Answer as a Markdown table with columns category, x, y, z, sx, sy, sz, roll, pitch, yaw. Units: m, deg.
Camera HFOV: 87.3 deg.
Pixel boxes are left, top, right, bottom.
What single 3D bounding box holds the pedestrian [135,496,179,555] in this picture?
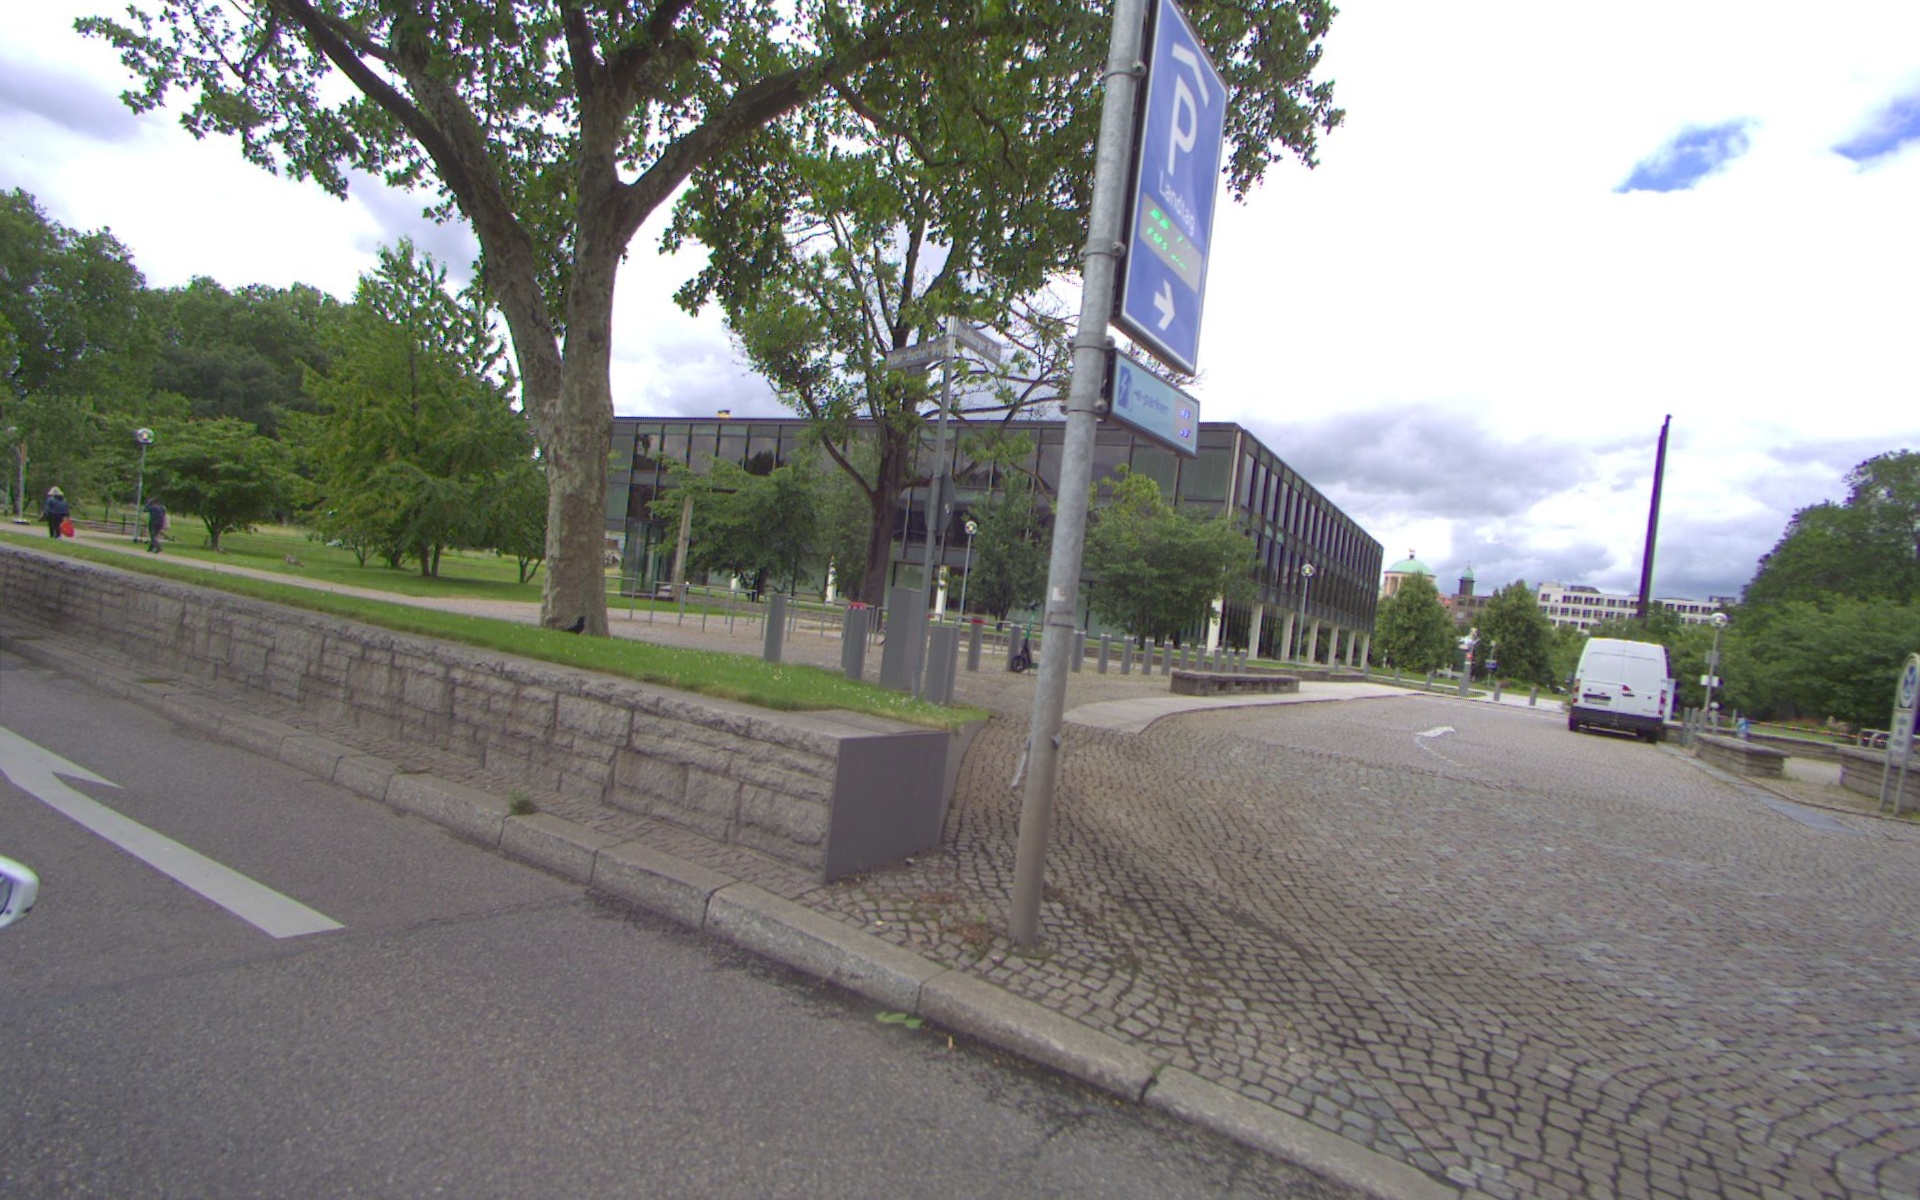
| category | x | y | z | sx | sy | sz | roll | pitch | yaw |
| --- | --- | --- | --- | --- | --- | --- | --- | --- | --- |
| pedestrian | -24.032 | -2.219 | 30.119 | 0.617 | 1.646 | 0.801 | 7 | 1 | 39 |

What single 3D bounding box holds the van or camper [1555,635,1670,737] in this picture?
| category | x | y | z | sx | sy | sz | roll | pitch | yaw |
| --- | --- | --- | --- | --- | --- | --- | --- | --- | --- |
| van or camper | 17.950 | 2.418 | 27.911 | 2.282 | 2.346 | 5.708 | 5 | -3 | 31 |

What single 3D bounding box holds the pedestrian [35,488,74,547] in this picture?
| category | x | y | z | sx | sy | sz | roll | pitch | yaw |
| --- | --- | --- | --- | --- | --- | --- | --- | --- | --- |
| pedestrian | -25.873 | -2.354 | 28.758 | 0.680 | 1.581 | 0.898 | 6 | 1 | -41 |

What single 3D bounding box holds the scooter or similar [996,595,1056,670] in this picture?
| category | x | y | z | sx | sy | sz | roll | pitch | yaw |
| --- | --- | --- | --- | --- | --- | --- | --- | --- | --- |
| scooter or similar | 1.194 | 0.590 | 18.106 | 0.716 | 1.262 | 0.717 | 6 | 0 | 30 |

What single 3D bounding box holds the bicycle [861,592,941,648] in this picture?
| category | x | y | z | sx | sy | sz | roll | pitch | yaw |
| --- | --- | --- | --- | --- | --- | --- | --- | --- | --- |
| bicycle | -1.384 | 0.498 | 24.071 | 0.674 | 1.155 | 2.194 | 7 | 0 | 32 |
